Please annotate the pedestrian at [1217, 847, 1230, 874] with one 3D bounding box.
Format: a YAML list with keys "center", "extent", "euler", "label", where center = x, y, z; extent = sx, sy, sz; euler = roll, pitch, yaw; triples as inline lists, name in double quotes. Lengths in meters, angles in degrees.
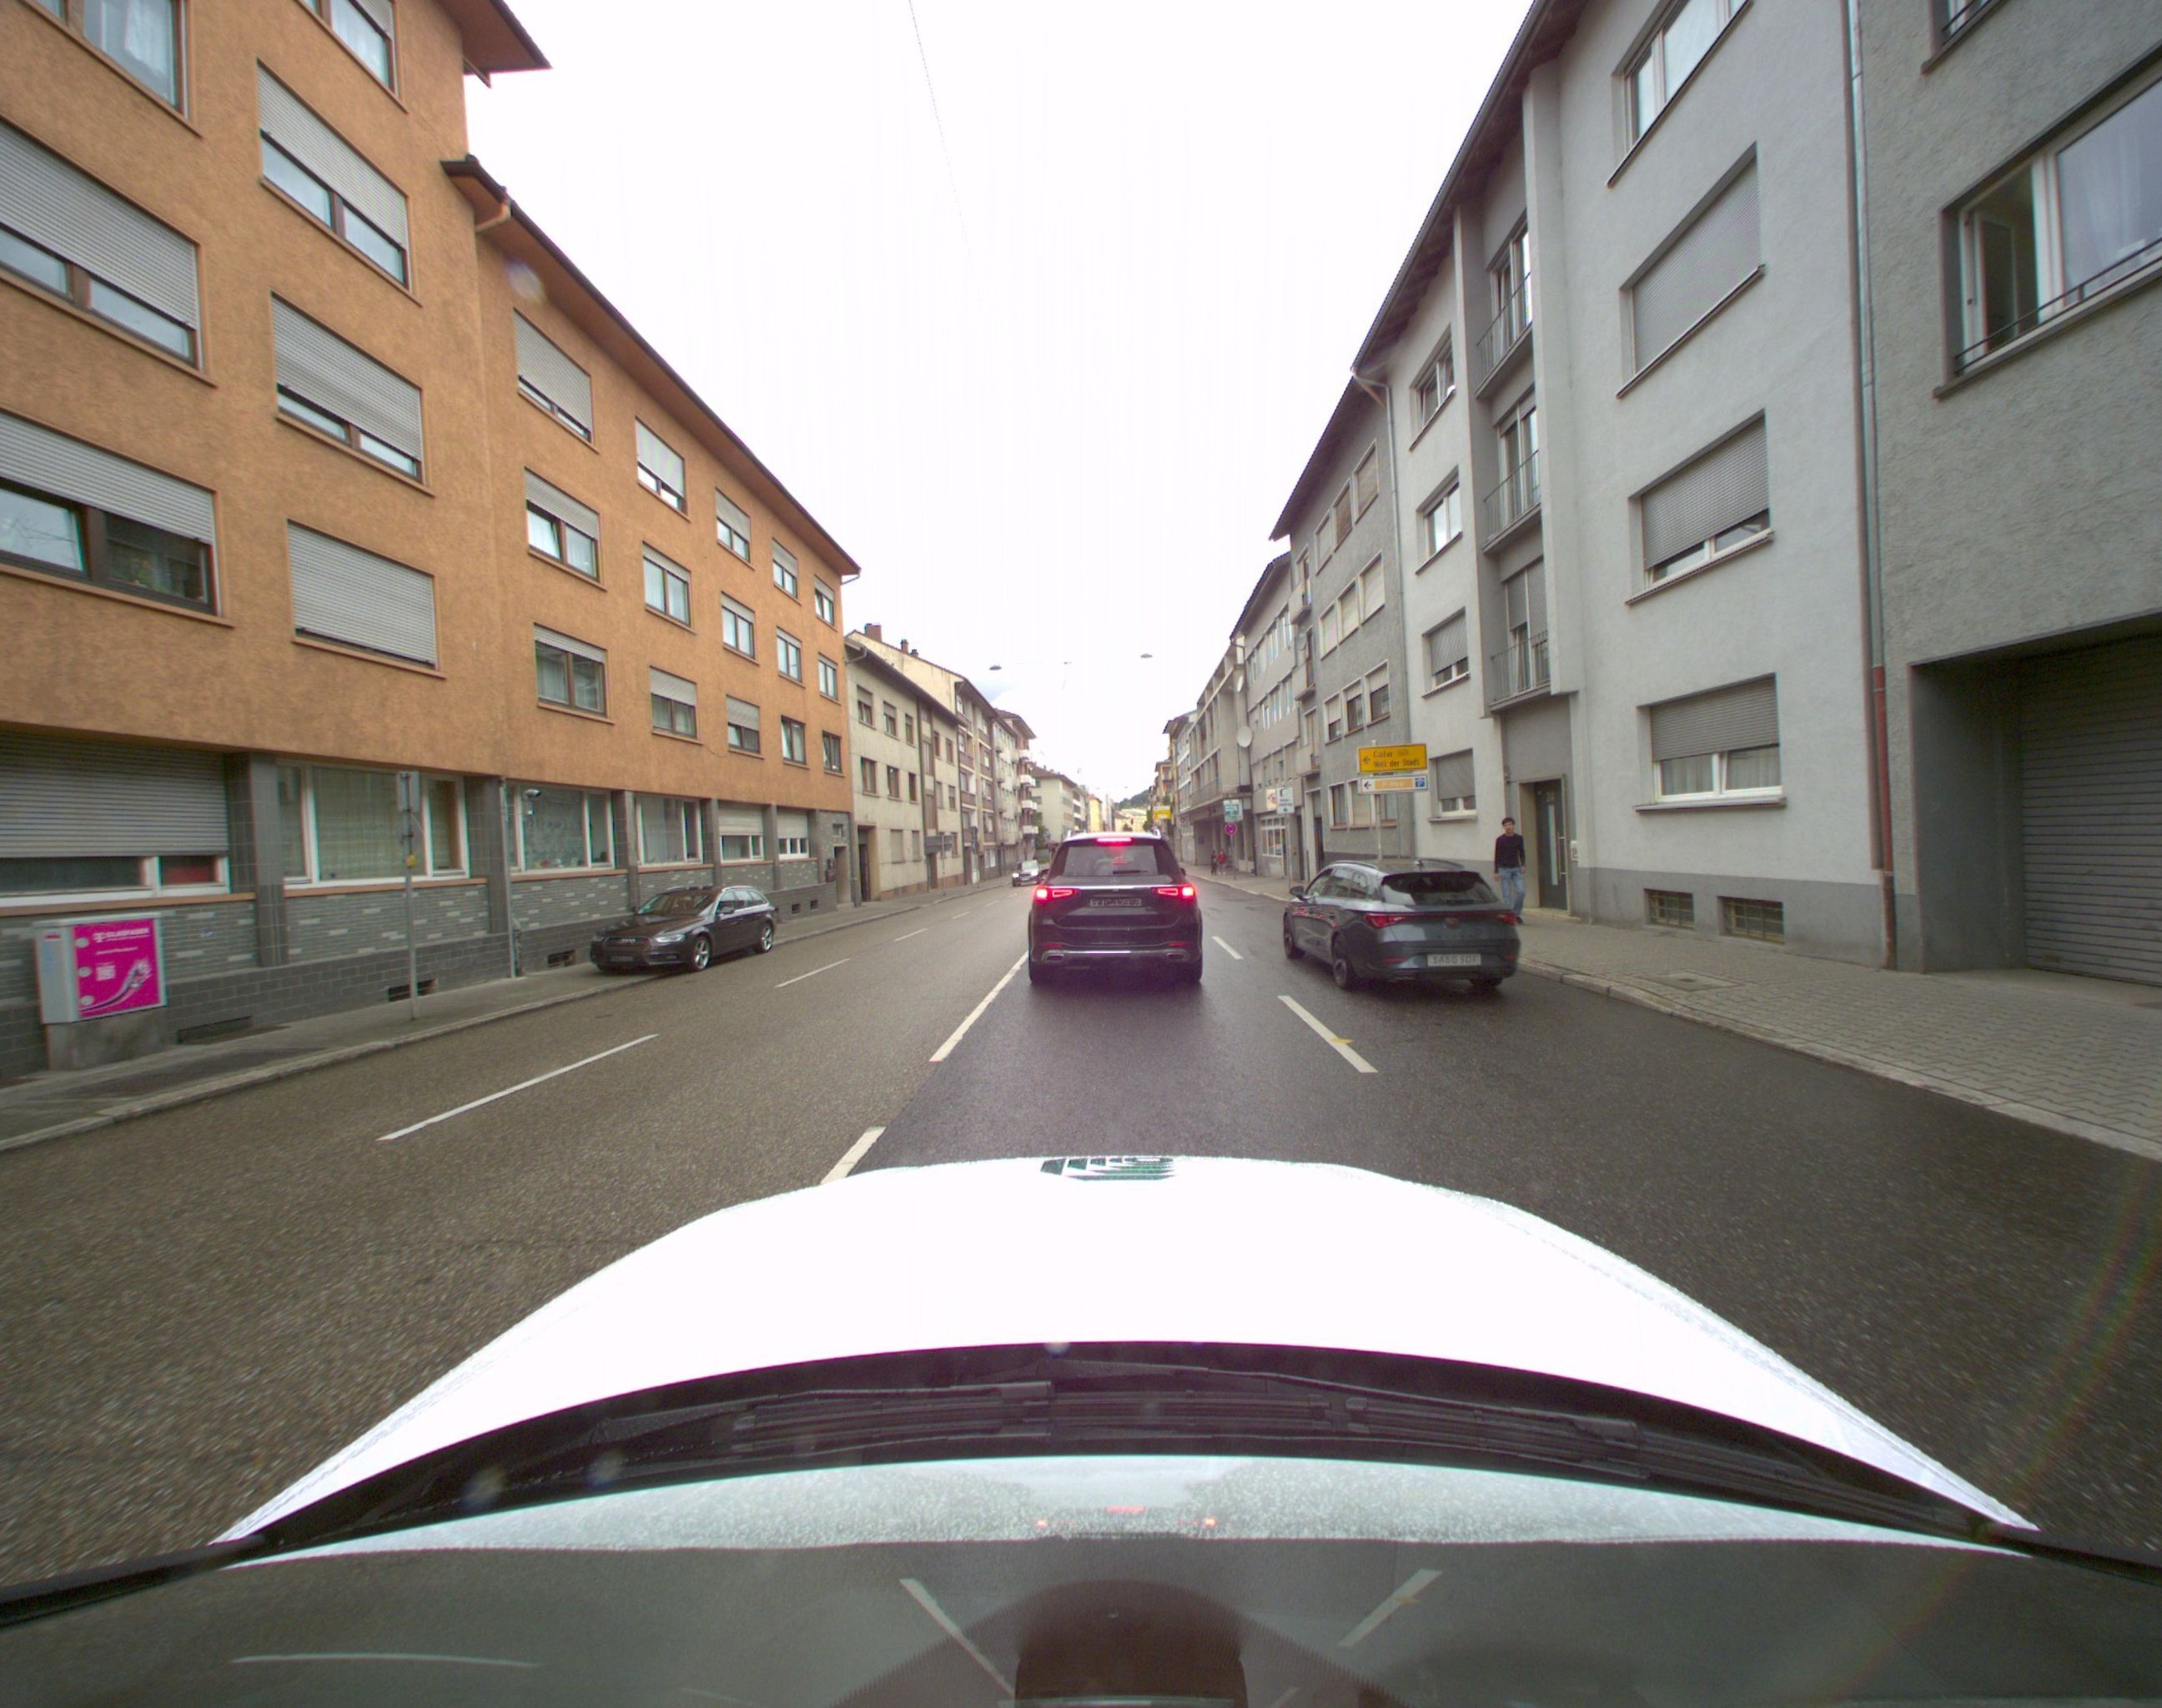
- center: [8.771, 0.412, 50.144]
  extent: [0.558, 1.578, 0.526]
  euler: [-5, 0, -1]
  label: "pedestrian"

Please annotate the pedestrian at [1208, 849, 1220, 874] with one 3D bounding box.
- center: [8.184, 0.461, 50.114]
  extent: [0.505, 1.500, 0.562]
  euler: [-5, 0, -1]
  label: "pedestrian"

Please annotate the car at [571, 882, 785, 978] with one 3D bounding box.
- center: [-7.511, 1.336, 15.789]
  extent: [1.788, 1.438, 4.528]
  euler: [0, 0, 1]
  label: "car"

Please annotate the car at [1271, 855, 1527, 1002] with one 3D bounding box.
- center: [3.614, 0.731, 10.131]
  extent: [1.615, 1.430, 4.313]
  euler: [0, 0, 1]
  label: "car"

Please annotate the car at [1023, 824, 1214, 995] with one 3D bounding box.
- center: [0.453, 0.588, 10.630]
  extent: [2.018, 1.806, 4.001]
  euler: [0, 0, 1]
  label: "car"

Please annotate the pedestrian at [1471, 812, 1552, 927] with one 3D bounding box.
- center: [7.099, 0.243, 13.487]
  extent: [0.641, 1.778, 1.057]
  euler: [-5, 0, 1]
  label: "pedestrian"

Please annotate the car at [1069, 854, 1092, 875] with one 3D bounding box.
- center: [-0.023, 0.957, 77.950]
  extent: [1.828, 1.727, 4.479]
  euler: [-5, 0, 4]
  label: "car"

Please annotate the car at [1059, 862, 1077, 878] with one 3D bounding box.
- center: [-1.458, 1.799, 93.272]
  extent: [1.790, 1.584, 4.318]
  euler: [-5, 0, 2]
  label: "car"

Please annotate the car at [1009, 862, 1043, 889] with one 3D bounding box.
- center: [-3.447, 1.334, 51.729]
  extent: [1.697, 1.507, 4.161]
  euler: [-5, 0, 1]
  label: "car"
